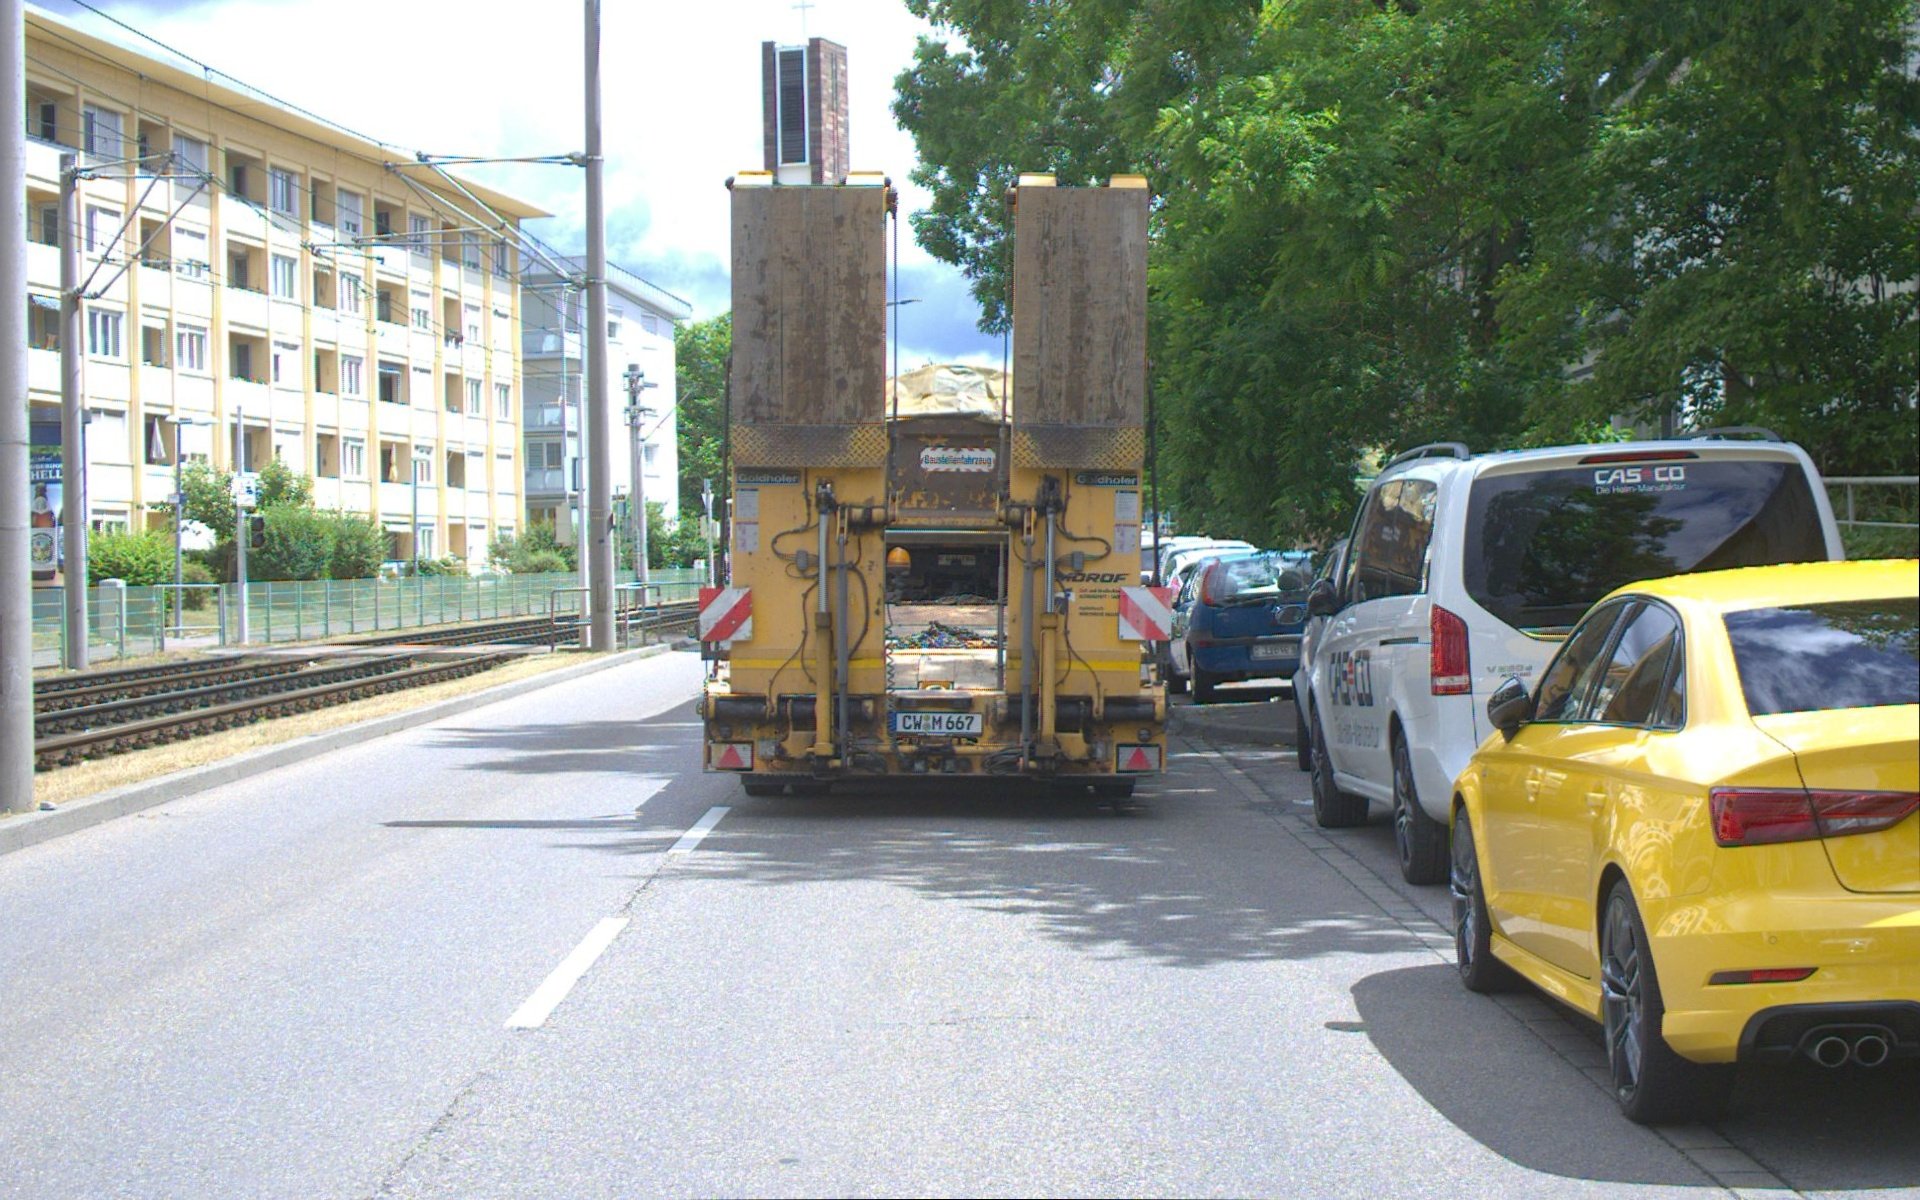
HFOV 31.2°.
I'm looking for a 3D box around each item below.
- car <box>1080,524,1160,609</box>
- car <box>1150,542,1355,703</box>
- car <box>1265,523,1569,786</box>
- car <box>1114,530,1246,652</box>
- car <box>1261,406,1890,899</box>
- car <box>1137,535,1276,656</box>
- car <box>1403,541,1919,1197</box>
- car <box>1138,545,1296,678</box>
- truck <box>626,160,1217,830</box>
[{"bbox_3d":[3.889,-0.840,84.005,1.799,1.961,4.590,-1,1,2],"label":"car"},{"bbox_3d":[2.864,0.182,34.283,1.608,1.451,3.676,-2,1,-1],"label":"car"},{"bbox_3d":[2.880,0.301,22.122,1.513,1.528,2.847,-2,1,0],"label":"car"},{"bbox_3d":[3.242,-0.171,50.844,1.824,1.676,4.575,-1,1,3],"label":"car"},{"bbox_3d":[2.754,0.161,16.841,1.914,1.952,5.745,-1,1,-1],"label":"car"},{"bbox_3d":[3.271,-0.088,46.121,1.581,1.547,3.475,0,1,-1],"label":"car"},{"bbox_3d":[2.486,0.581,10.052,1.755,1.437,4.341,-2,1,0],"label":"car"},{"bbox_3d":[3.022,0.101,40.986,1.645,1.485,3.822,0,1,1],"label":"car"},{"bbox_3d":[-0.352,-0.686,24.544,3.124,3.552,12.461,0,1,-1],"label":"truck"}]
